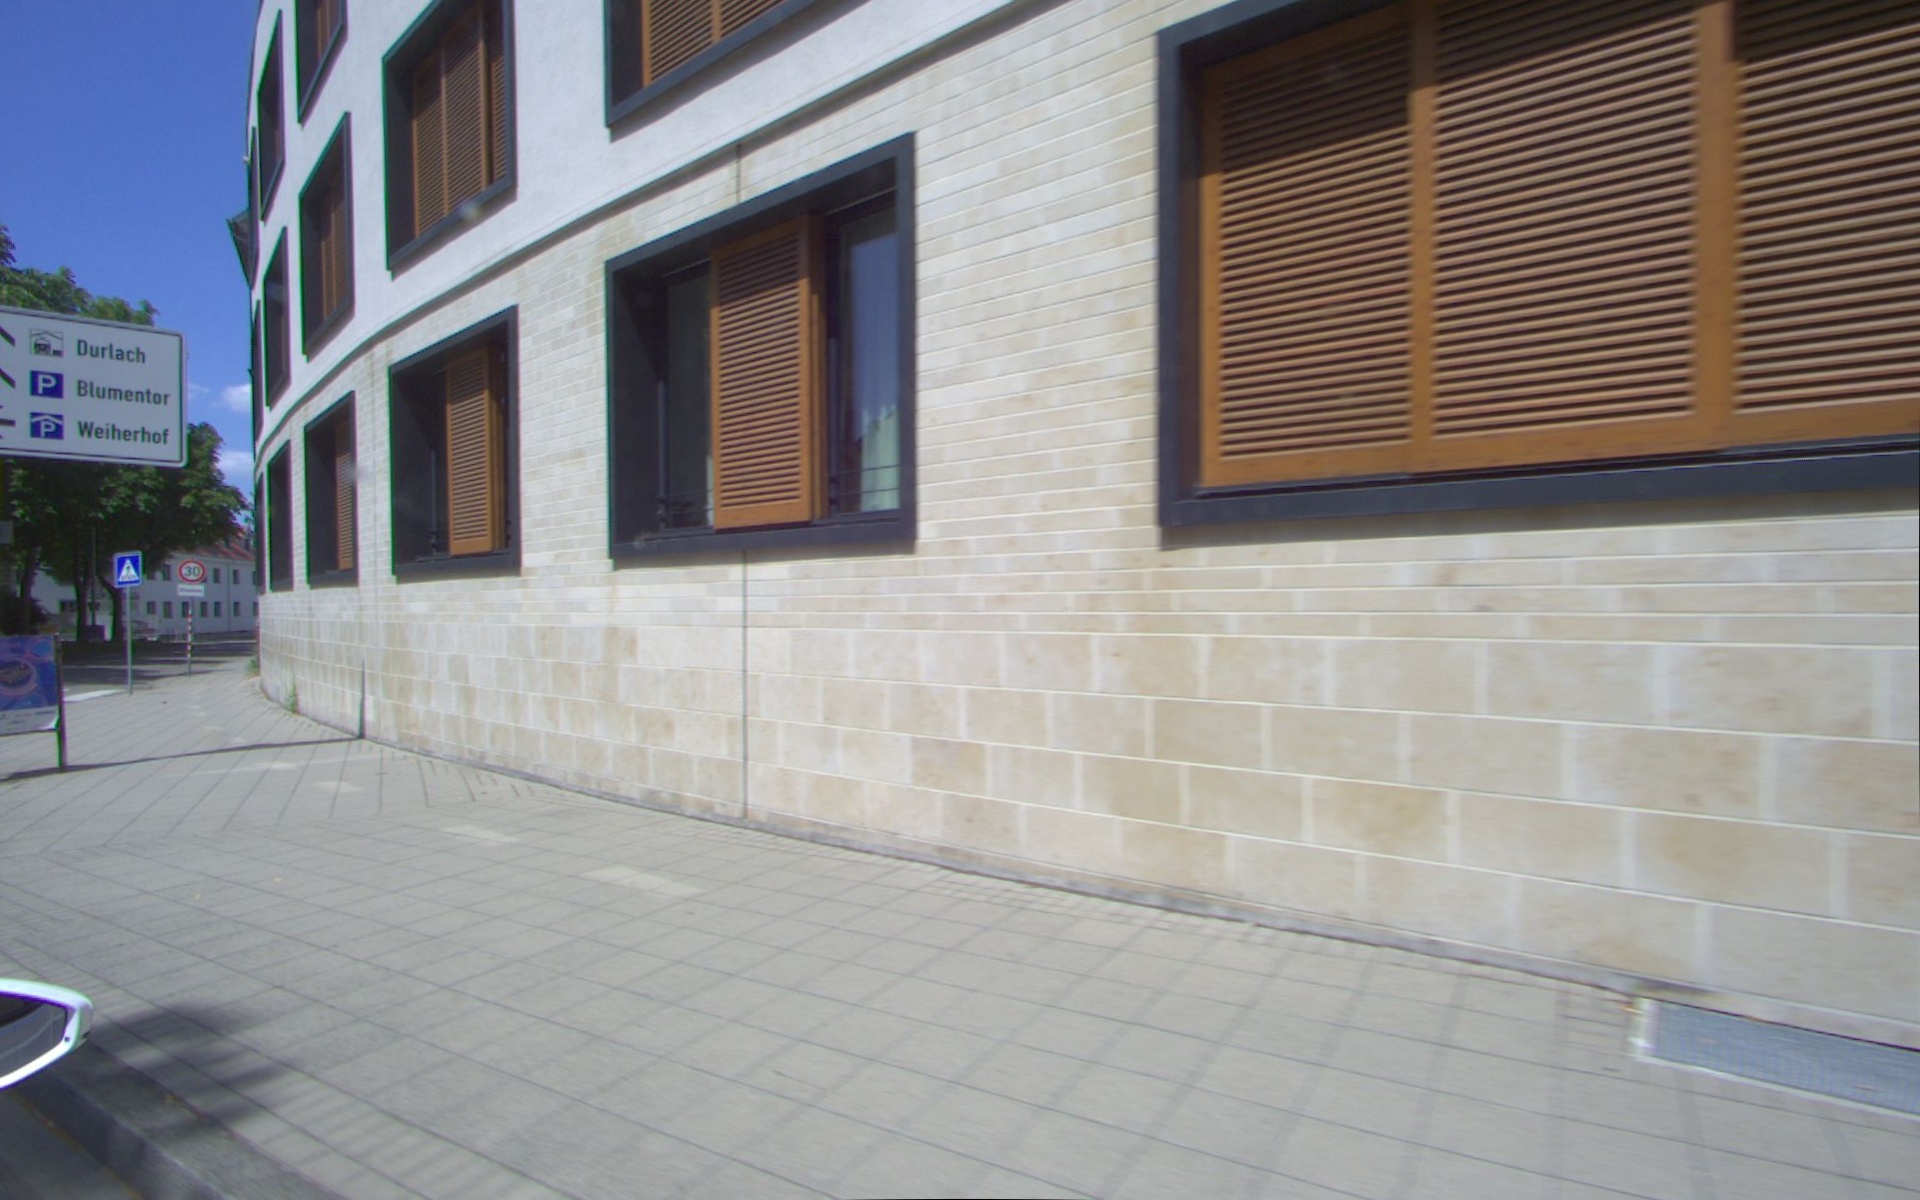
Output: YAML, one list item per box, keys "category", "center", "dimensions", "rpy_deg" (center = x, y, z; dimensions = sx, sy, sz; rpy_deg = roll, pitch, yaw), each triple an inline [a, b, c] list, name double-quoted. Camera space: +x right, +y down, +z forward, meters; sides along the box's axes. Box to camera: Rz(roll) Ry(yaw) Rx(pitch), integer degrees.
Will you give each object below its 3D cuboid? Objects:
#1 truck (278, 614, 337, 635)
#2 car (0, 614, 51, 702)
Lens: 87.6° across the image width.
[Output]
- category: "truck"
  center: [-64.819, 2.436, 99.500]
  dimensions: [4.751, 2.040, 2.130]
  rpy_deg: [1, -1, -37]
- category: "car"
  center: [-18.163, 1.022, 17.767]
  dimensions: [1.881, 1.553, 4.226]
  rpy_deg: [2, -2, -26]
